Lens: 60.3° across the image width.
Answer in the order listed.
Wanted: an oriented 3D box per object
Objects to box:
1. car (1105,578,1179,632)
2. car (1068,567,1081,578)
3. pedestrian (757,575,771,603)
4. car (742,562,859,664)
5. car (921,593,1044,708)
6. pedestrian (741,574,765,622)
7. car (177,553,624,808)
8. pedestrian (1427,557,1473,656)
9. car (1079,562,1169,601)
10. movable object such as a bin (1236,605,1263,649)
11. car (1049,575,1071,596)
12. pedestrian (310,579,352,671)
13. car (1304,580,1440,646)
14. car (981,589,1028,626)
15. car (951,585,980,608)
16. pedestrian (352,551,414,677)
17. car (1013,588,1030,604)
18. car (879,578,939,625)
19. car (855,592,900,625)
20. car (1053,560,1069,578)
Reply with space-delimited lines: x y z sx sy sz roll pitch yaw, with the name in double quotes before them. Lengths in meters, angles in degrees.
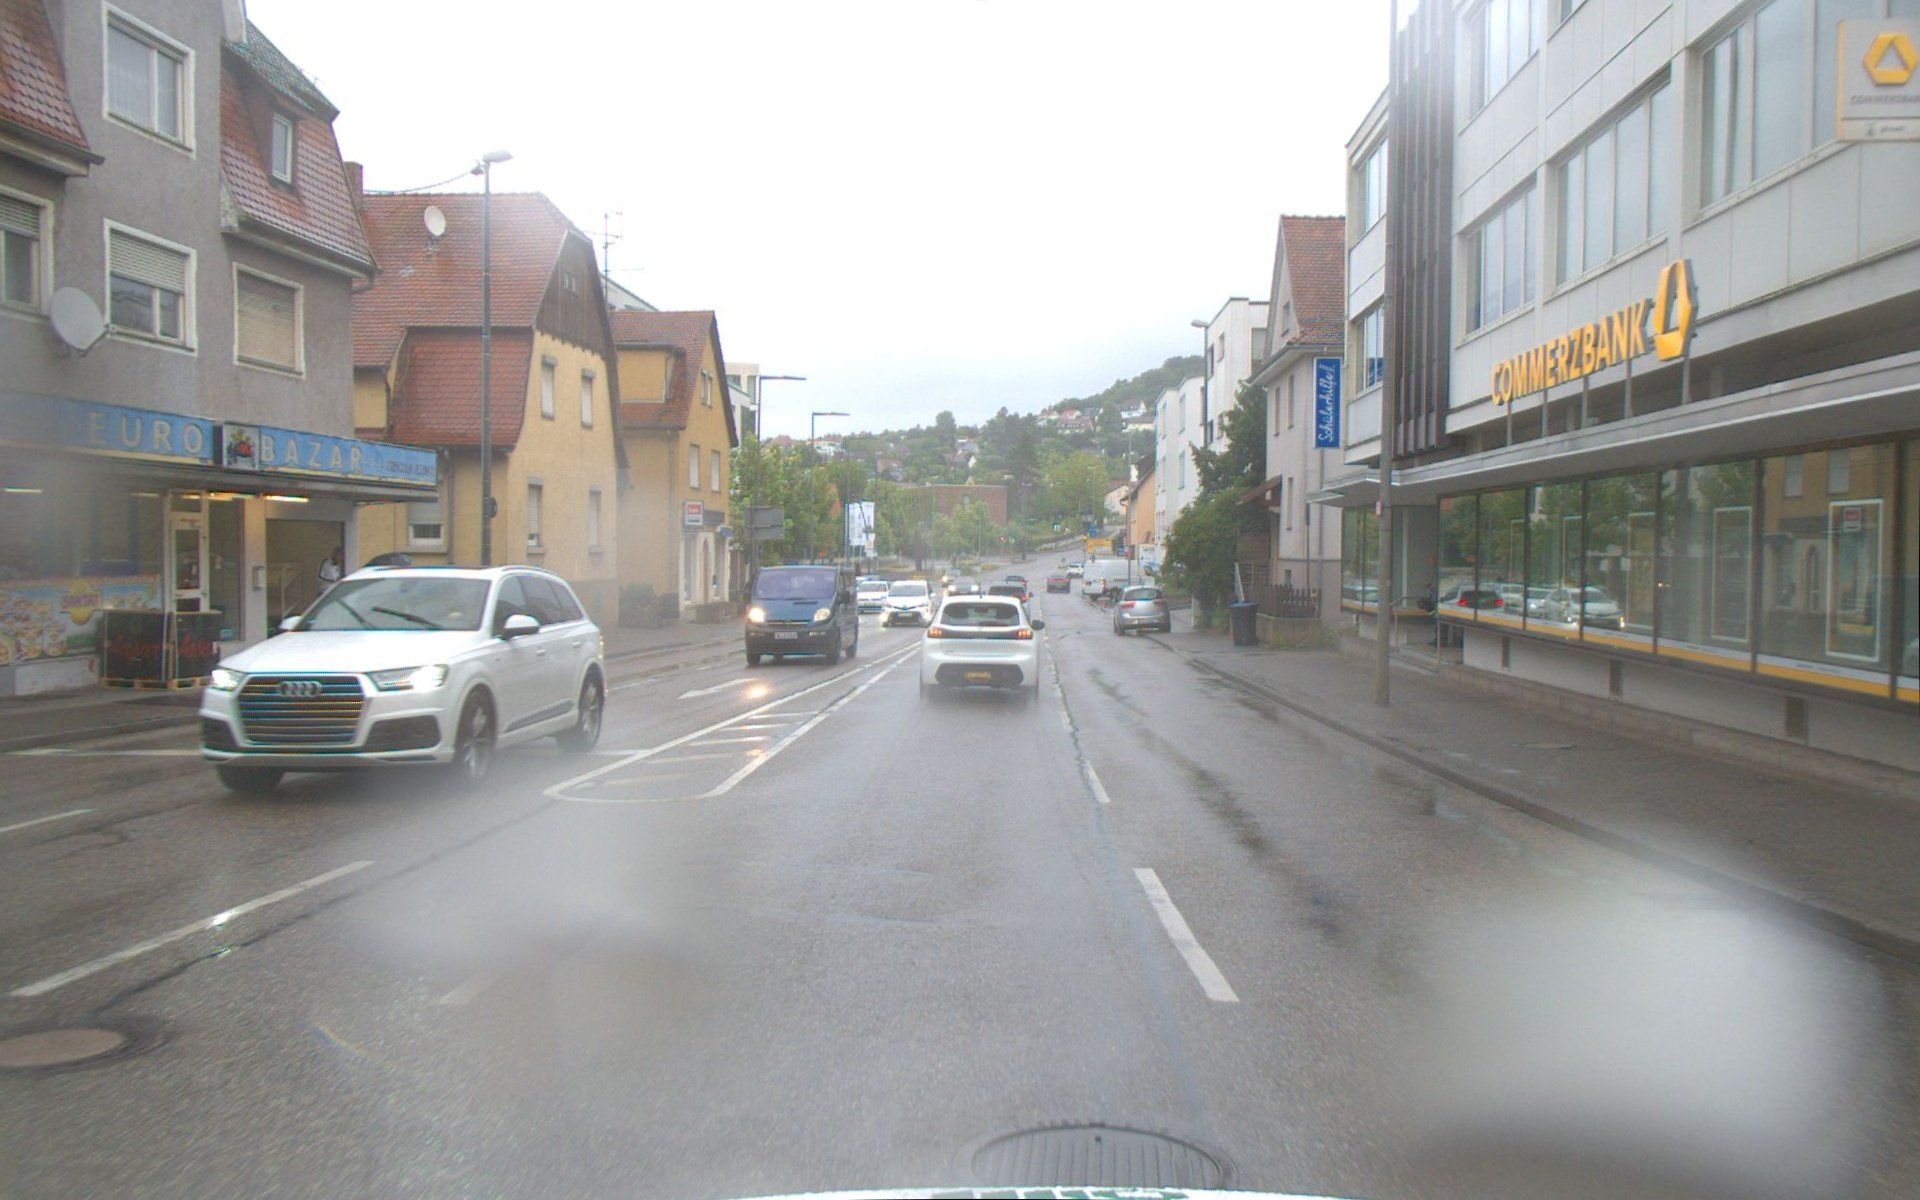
"car" 6.040 0.198 55.304 1.970 1.650 4.360 1 -2 0
"car" 12.480 -3.012 180.833 1.356 1.146 2.611 0 -1 3
"pedestrian" -12.334 -0.678 104.075 0.792 1.768 1.002 0 -1 -3
"car" -3.244 0.268 34.642 1.925 1.972 5.179 0 -1 0
"car" 0.388 0.709 24.310 1.655 1.546 3.934 0 -1 3
"pedestrian" -7.959 -0.073 63.554 0.784 1.819 0.882 0 -1 1
"car" -4.335 0.570 13.787 2.055 1.742 4.849 0 -1 0
"pedestrian" 9.169 0.107 30.971 0.714 1.811 0.954 1 1 10
"car" 10.675 -1.164 107.001 2.259 2.424 6.580 -1 -1 44
"movable object such as a bin" 7.394 0.691 42.324 0.564 1.066 0.831 -1 2 2
"car" 8.139 -1.183 134.911 1.698 1.411 3.355 1 4 1
"pedestrian" -10.867 0.431 28.592 0.532 1.585 0.446 0 -1 3
"car" 10.352 0.321 41.706 1.338 1.528 3.304 -3 1 -31
"car" 1.672 0.246 61.198 1.705 1.318 3.335 0 1 2
"car" 0.367 -0.218 106.300 1.731 1.438 4.527 0 -1 2
"pedestrian" -9.274 0.225 26.623 0.648 1.955 0.946 2 -1 -5
"car" 4.483 -0.281 121.138 1.188 1.176 2.270 0 -1 0
"car" -1.806 0.076 60.026 1.839 1.637 4.720 0 -1 2
"car" -3.861 0.417 77.637 1.615 1.442 4.140 -2 -1 3
"car" 12.654 -3.863 206.887 1.952 2.049 4.001 0 -1 3
